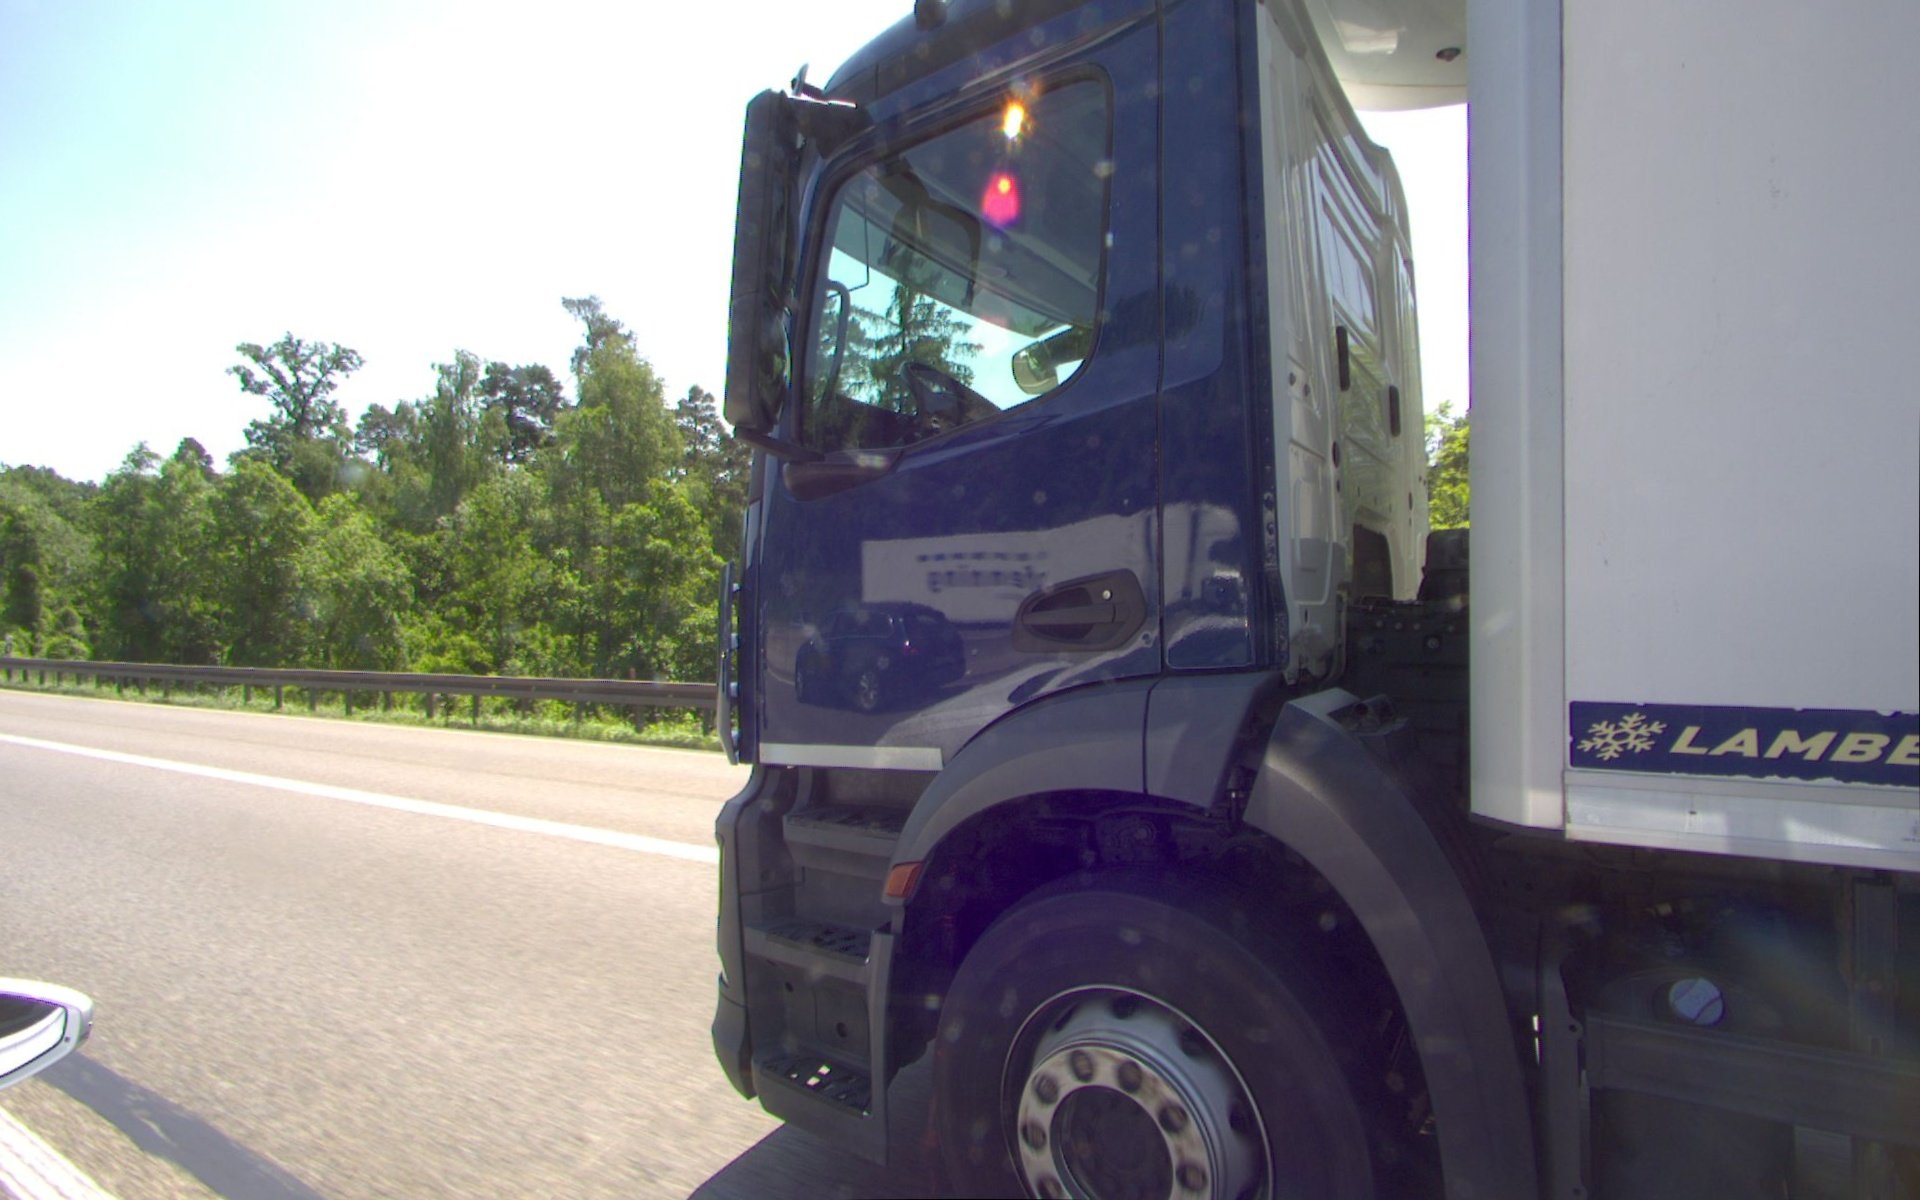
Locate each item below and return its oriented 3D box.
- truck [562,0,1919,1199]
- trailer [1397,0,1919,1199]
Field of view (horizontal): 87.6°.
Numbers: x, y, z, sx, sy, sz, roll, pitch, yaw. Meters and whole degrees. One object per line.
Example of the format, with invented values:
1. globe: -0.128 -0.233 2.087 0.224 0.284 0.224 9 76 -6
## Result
1. truck: 1.418 0.038 2.401 4.048 2.978 2.550 -2 -1 34
2. trailer: 4.549 -0.058 0.386 7.769 2.936 2.551 -1 -2 32
